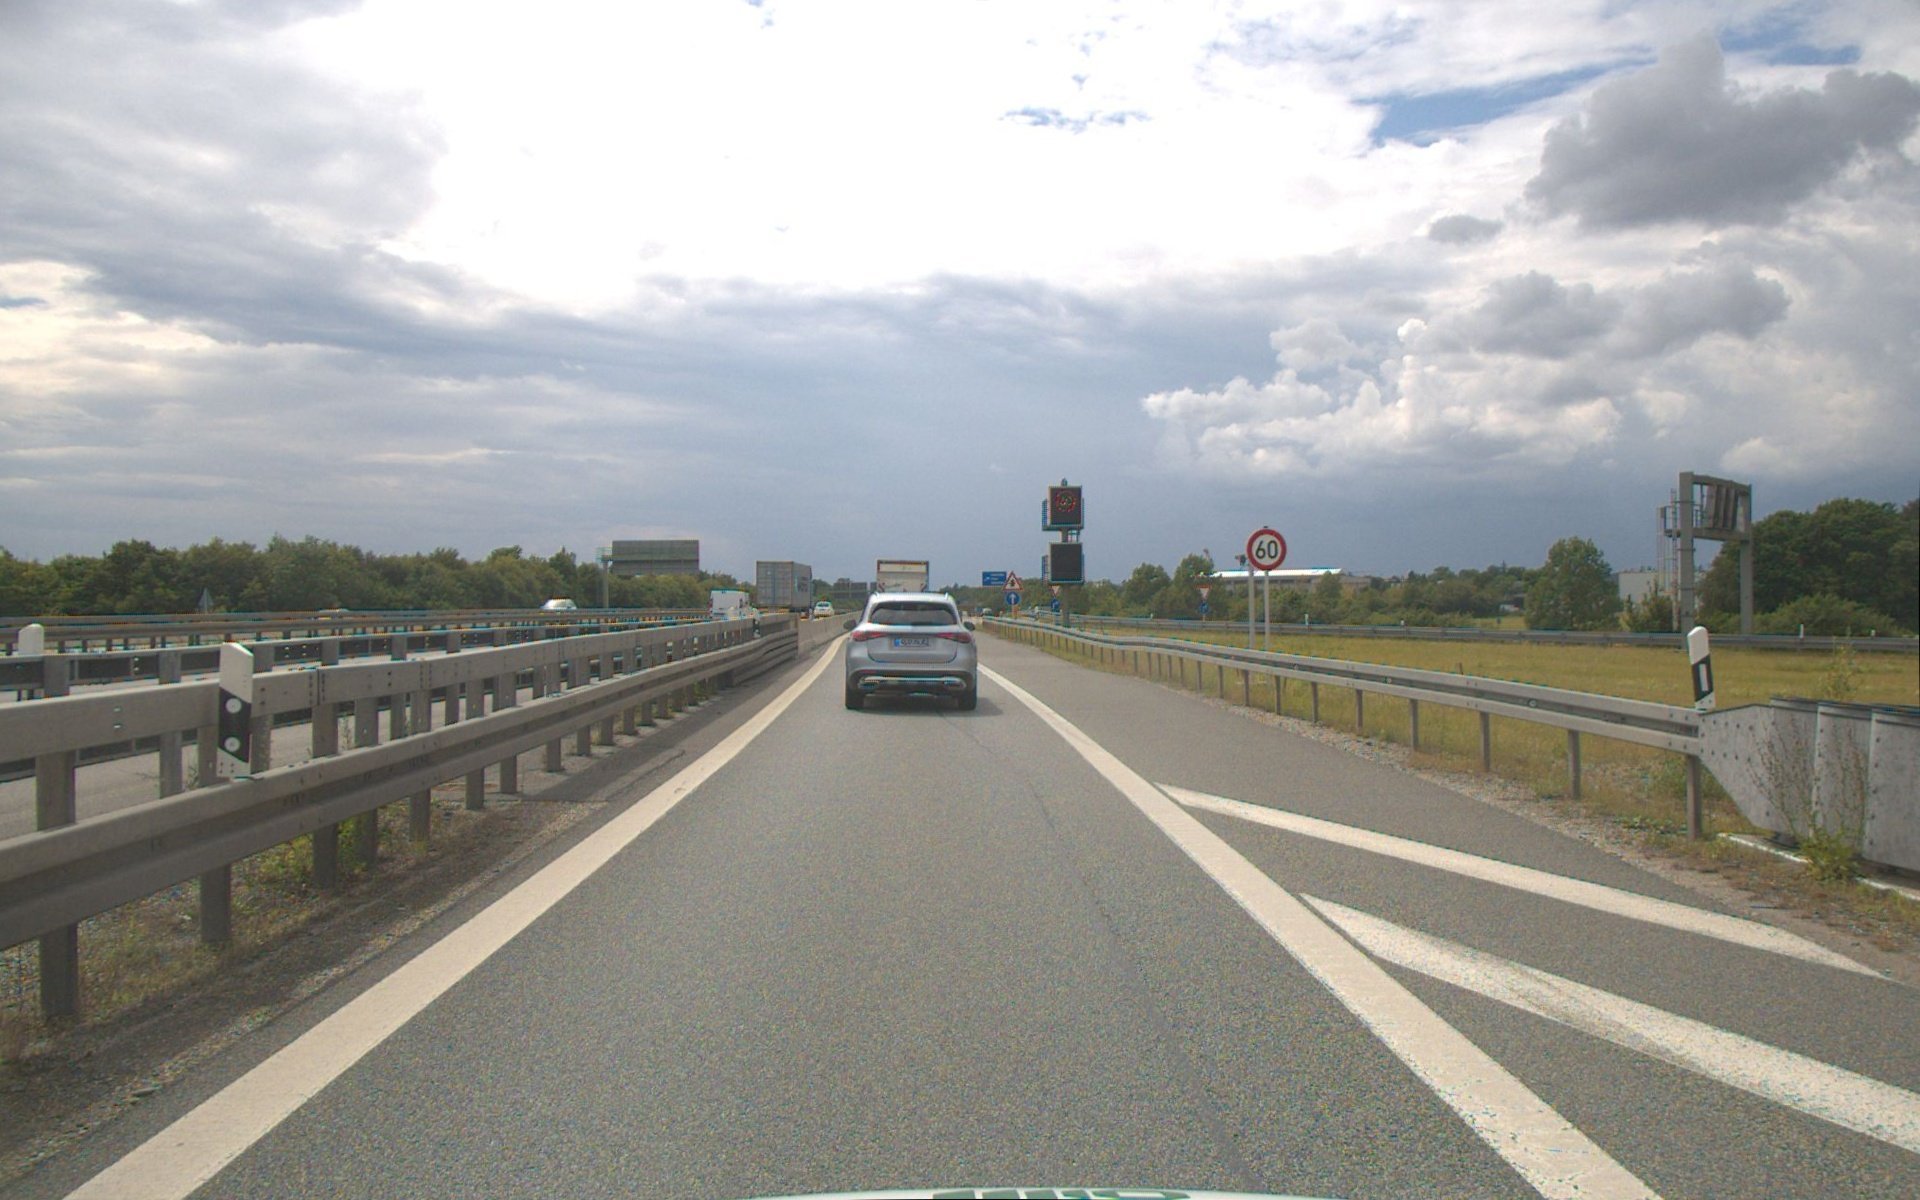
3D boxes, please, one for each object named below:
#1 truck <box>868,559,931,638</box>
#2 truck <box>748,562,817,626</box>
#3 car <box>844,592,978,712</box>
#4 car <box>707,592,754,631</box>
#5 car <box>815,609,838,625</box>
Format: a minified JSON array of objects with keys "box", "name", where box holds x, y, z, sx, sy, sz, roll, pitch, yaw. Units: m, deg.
[{"box":[-2.554,-0.027,72.132,2.517,3.181,8.632,1,-1,-1],"name":"truck"},{"box":[-12.136,-0.487,114.813,3.118,4.089,16.074,1,1,0],"name":"truck"},{"box":[-0.710,0.697,24.321,1.782,1.541,3.999,1,1,-1],"name":"car"},{"box":[-12.679,0.614,91.609,1.952,2.049,4.375,1,1,1],"name":"car"},{"box":[-12.183,1.523,151.018,1.661,1.310,4.001,1,1,1],"name":"car"}]
